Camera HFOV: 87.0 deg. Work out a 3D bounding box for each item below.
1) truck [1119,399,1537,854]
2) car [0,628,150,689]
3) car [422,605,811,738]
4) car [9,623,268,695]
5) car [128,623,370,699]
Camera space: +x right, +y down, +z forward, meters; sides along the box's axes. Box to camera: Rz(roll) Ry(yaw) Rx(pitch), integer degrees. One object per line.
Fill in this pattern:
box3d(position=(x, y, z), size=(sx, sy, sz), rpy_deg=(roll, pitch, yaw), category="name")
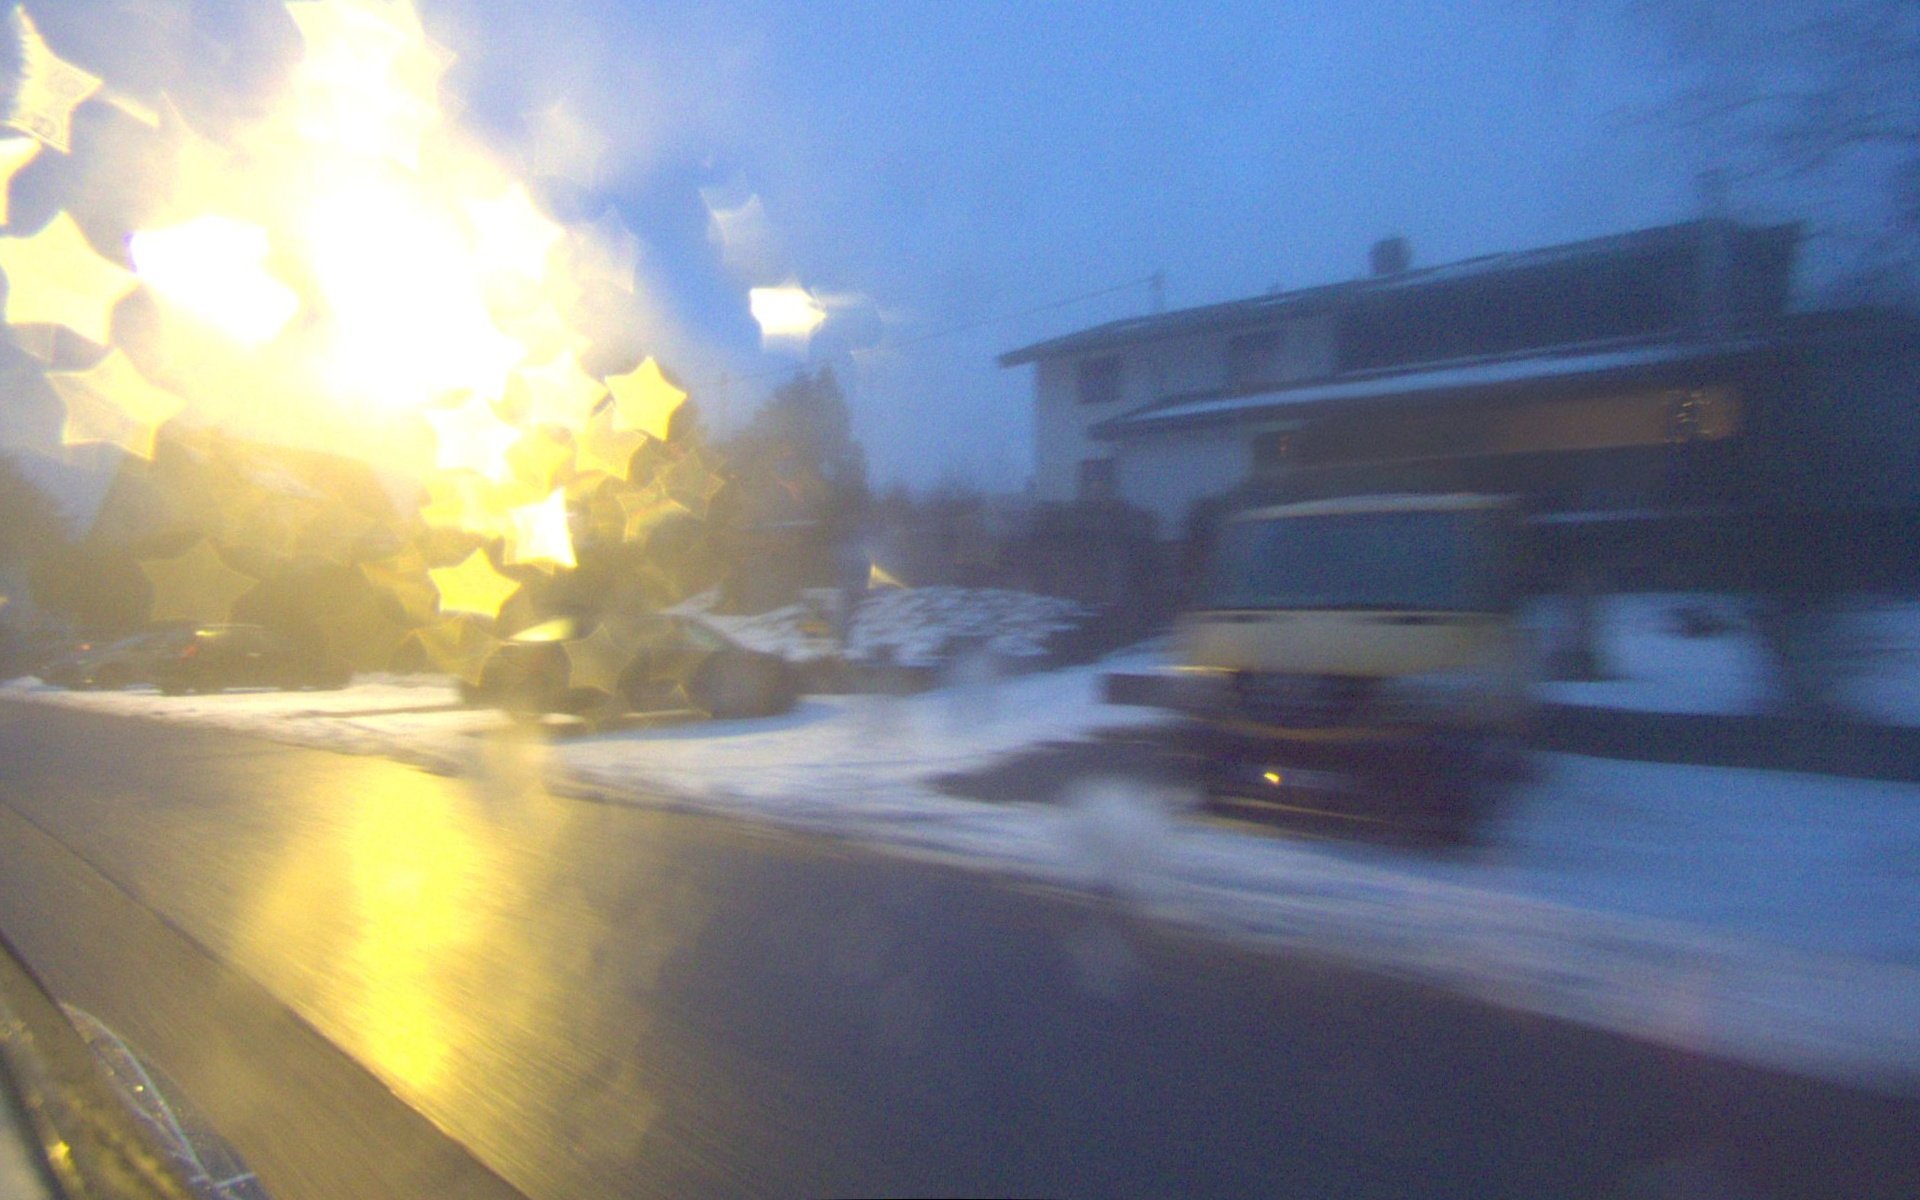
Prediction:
box3d(position=(3.214, 0.251, 7.916), size=(1.993, 2.320, 5.220), rpy_deg=(-2, -3, 32), category="truck")
box3d(position=(-25.128, 1.609, 27.779), size=(4.951, 1.578, 1.990), rpy_deg=(-1, -4, 16), category="car")
box3d(position=(-4.462, 0.919, 13.994), size=(2.117, 1.496, 4.848), rpy_deg=(-2, -3, 33), category="car")
box3d(position=(-20.092, 1.424, 25.008), size=(2.098, 1.578, 4.504), rpy_deg=(-2, -3, 25), category="car")
box3d(position=(-15.208, 1.290, 21.867), size=(1.930, 1.483, 3.828), rpy_deg=(-2, -3, 29), category="car")
